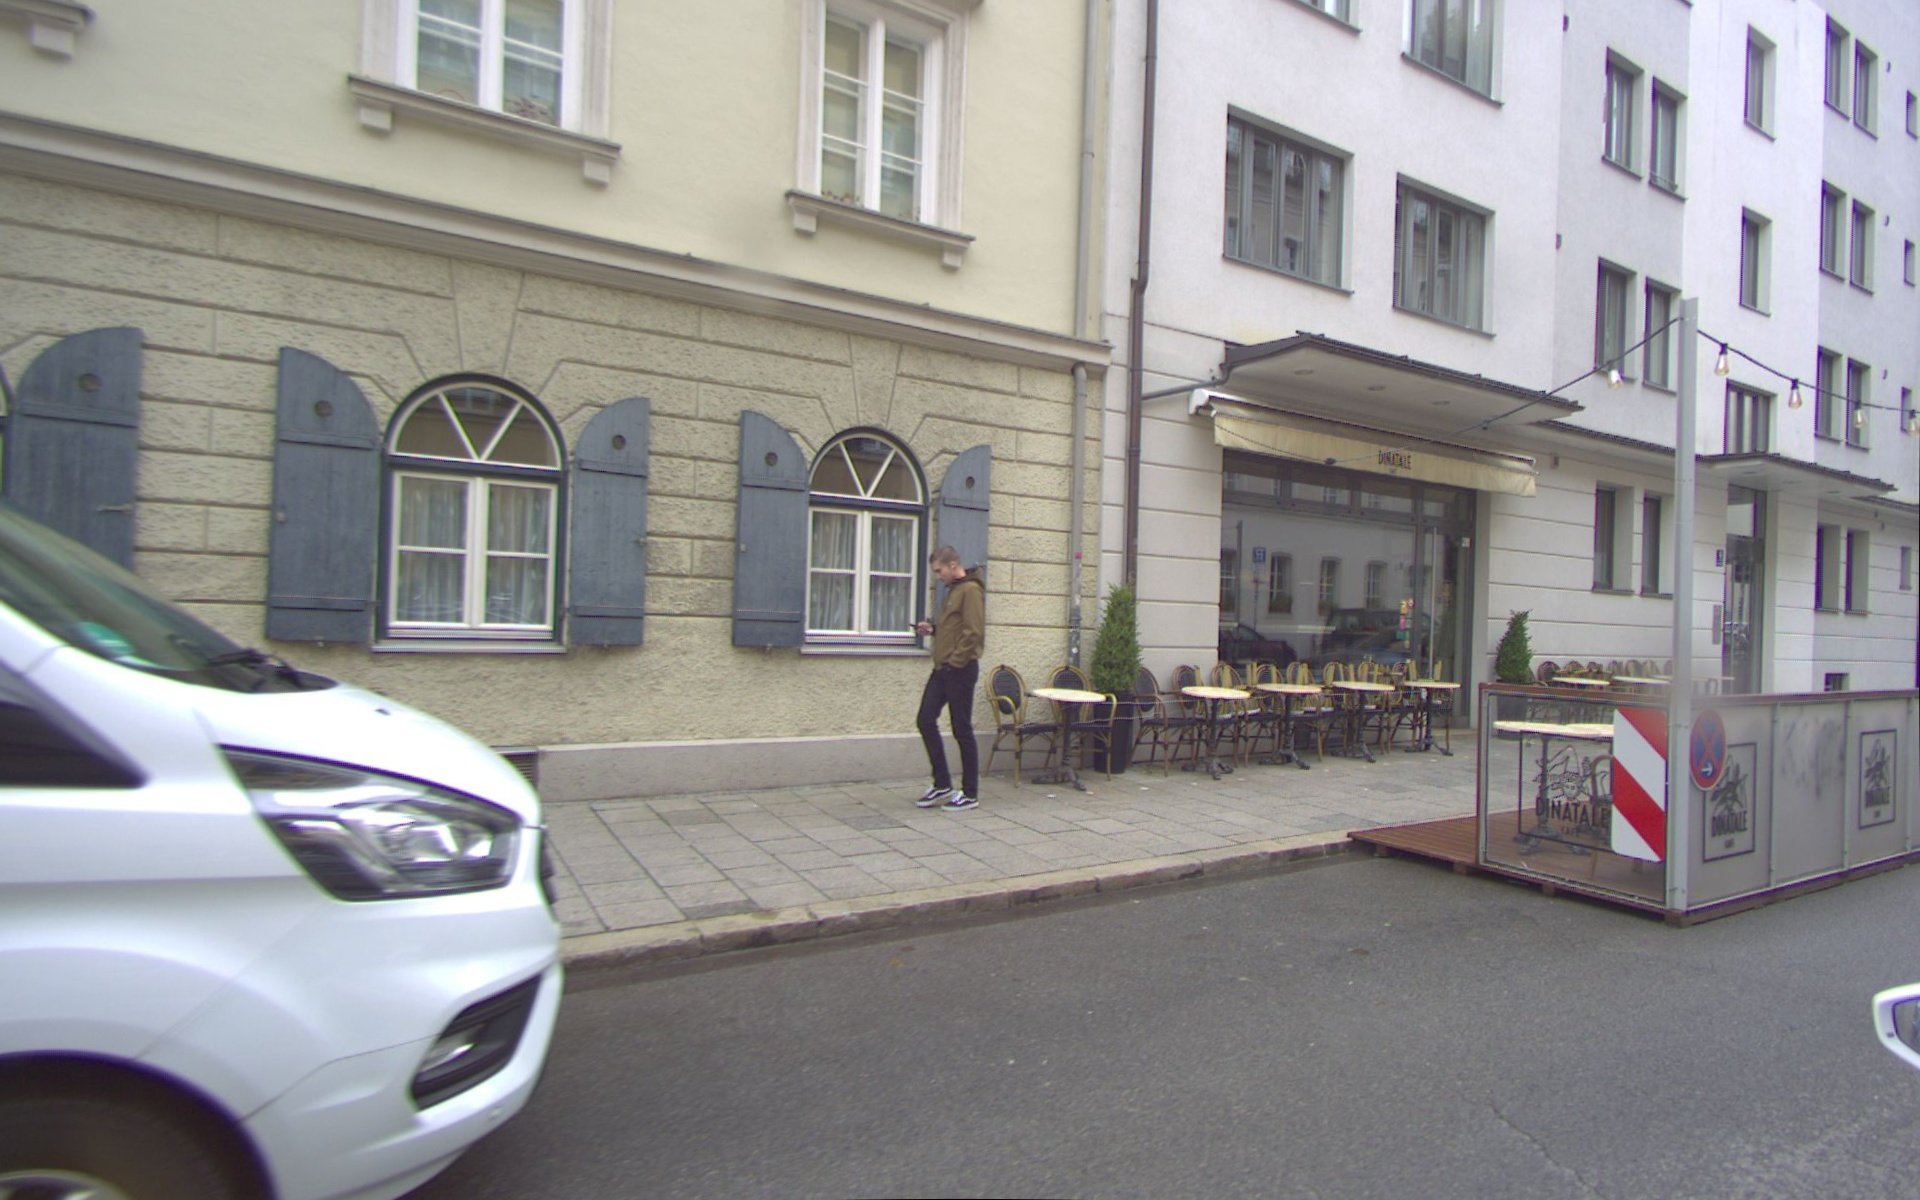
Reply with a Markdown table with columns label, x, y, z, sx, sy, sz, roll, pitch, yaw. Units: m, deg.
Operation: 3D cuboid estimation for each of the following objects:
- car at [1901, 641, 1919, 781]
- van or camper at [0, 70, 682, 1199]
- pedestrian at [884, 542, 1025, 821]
| label | x | y | z | sx | sy | sz | roll | pitch | yaw |
| --- | --- | --- | --- | --- | --- | --- | --- | --- | --- |
| car | 11.908 | 1.194 | 10.977 | 4.118 | 1.429 | 1.749 | 2 | -2 | -38 |
| van or camper | -3.288 | 0.269 | 1.549 | 5.213 | 2.311 | 1.745 | 2 | -1 | -31 |
| pedestrian | -0.044 | 0.547 | 7.007 | 0.732 | 1.818 | 0.589 | 3 | -2 | -31 |
